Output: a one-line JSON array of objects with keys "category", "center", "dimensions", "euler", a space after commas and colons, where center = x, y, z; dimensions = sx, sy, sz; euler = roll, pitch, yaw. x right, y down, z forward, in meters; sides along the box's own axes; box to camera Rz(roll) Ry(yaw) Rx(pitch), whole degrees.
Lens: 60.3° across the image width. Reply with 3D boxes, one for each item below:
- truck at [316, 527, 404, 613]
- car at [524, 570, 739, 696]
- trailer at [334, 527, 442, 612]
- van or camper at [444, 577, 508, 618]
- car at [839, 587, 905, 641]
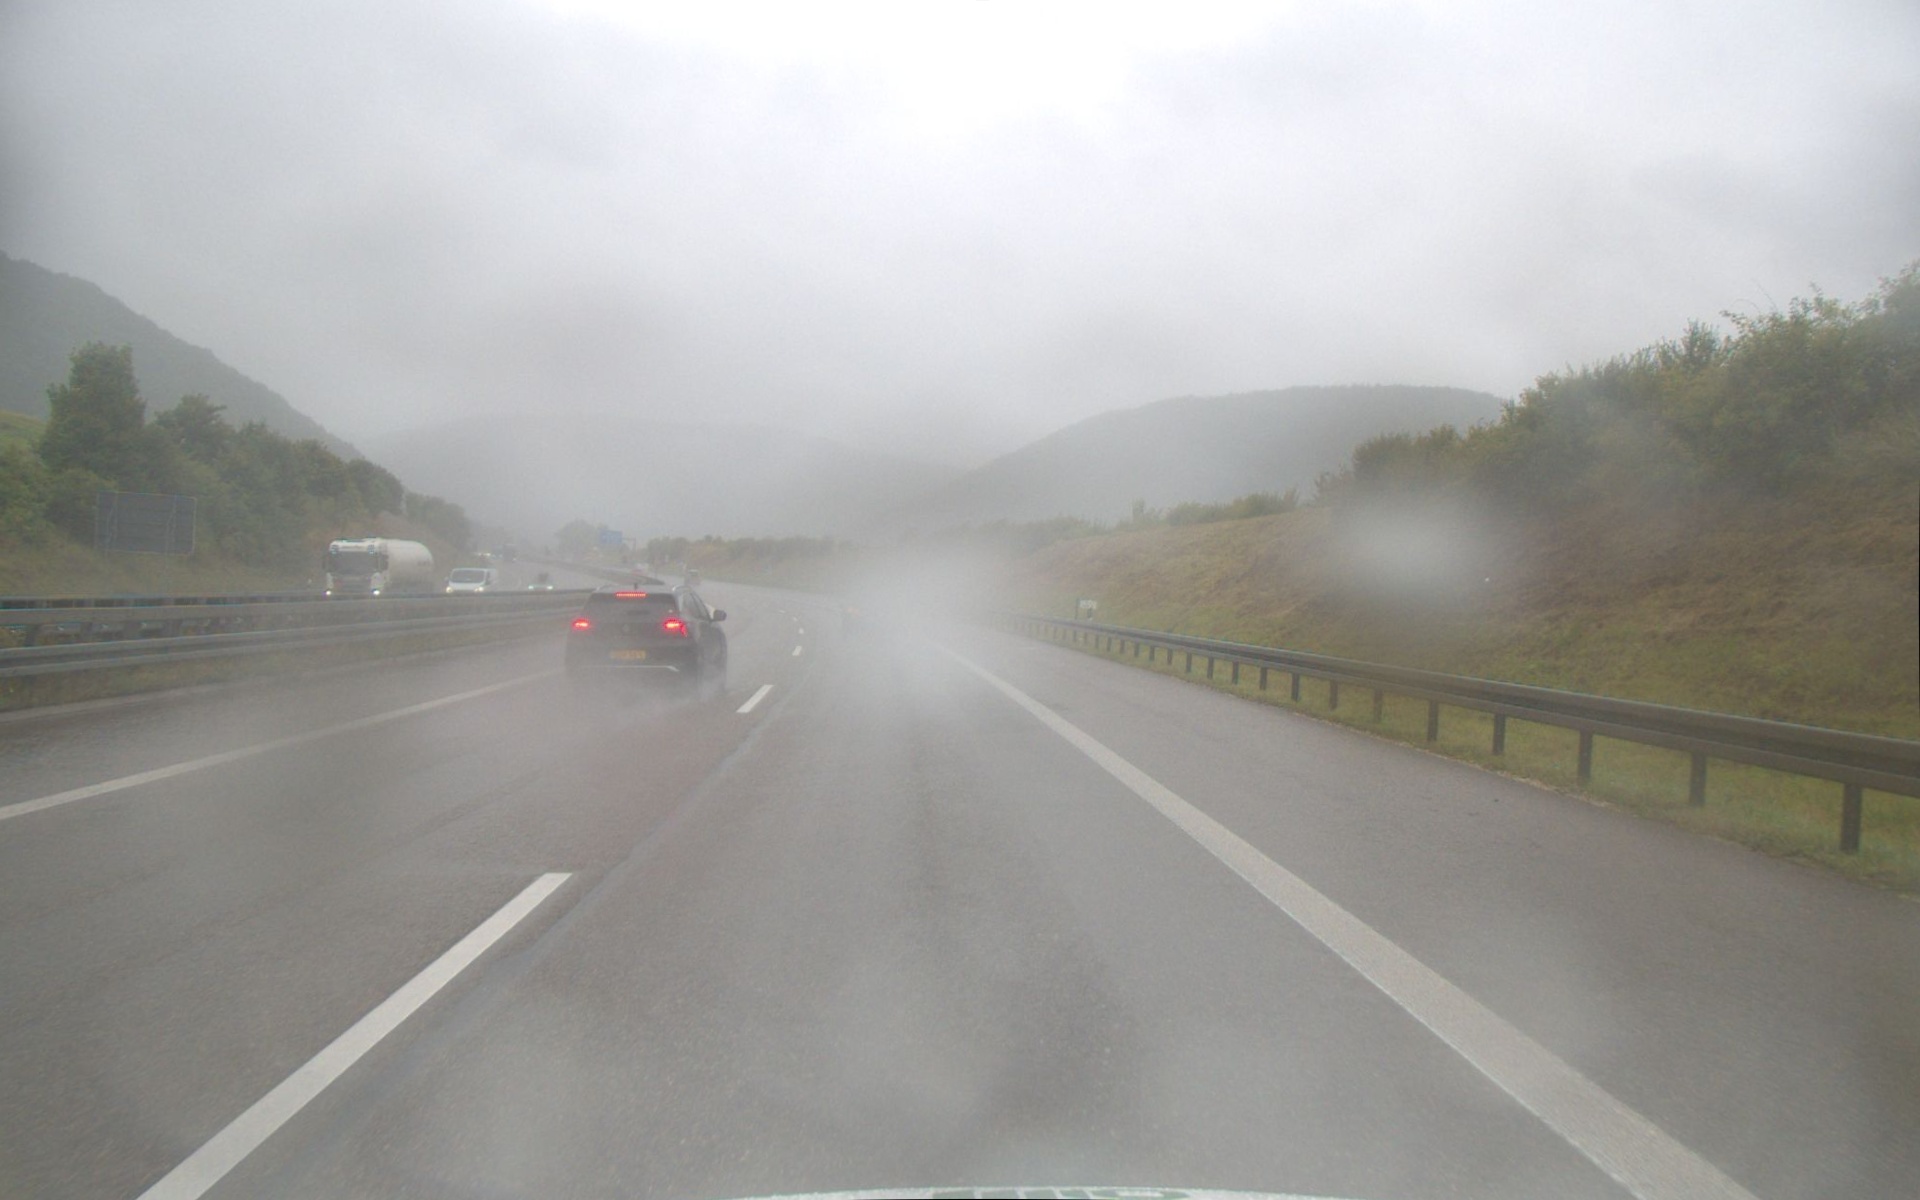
[{"category": "truck", "center": [-27.894, -1.370, 77.107], "dimensions": [2.830, 3.868, 5.305], "euler": [1, 0, -9]}, {"category": "car", "center": [-4.580, 0.443, 23.847], "dimensions": [2.358, 1.542, 4.780], "euler": [2, 0, -4]}, {"category": "trailer", "center": [-28.828, -1.479, 83.966], "dimensions": [2.879, 3.970, 12.543], "euler": [1, 0, -9]}, {"category": "van or camper", "center": [-23.551, -0.143, 80.641], "dimensions": [1.955, 1.910, 5.340], "euler": [1, 0, -5]}, {"category": "car", "center": [-2.679, 0.404, 49.860], "dimensions": [1.647, 1.498, 3.808], "euler": [2, 0, -8]}]
